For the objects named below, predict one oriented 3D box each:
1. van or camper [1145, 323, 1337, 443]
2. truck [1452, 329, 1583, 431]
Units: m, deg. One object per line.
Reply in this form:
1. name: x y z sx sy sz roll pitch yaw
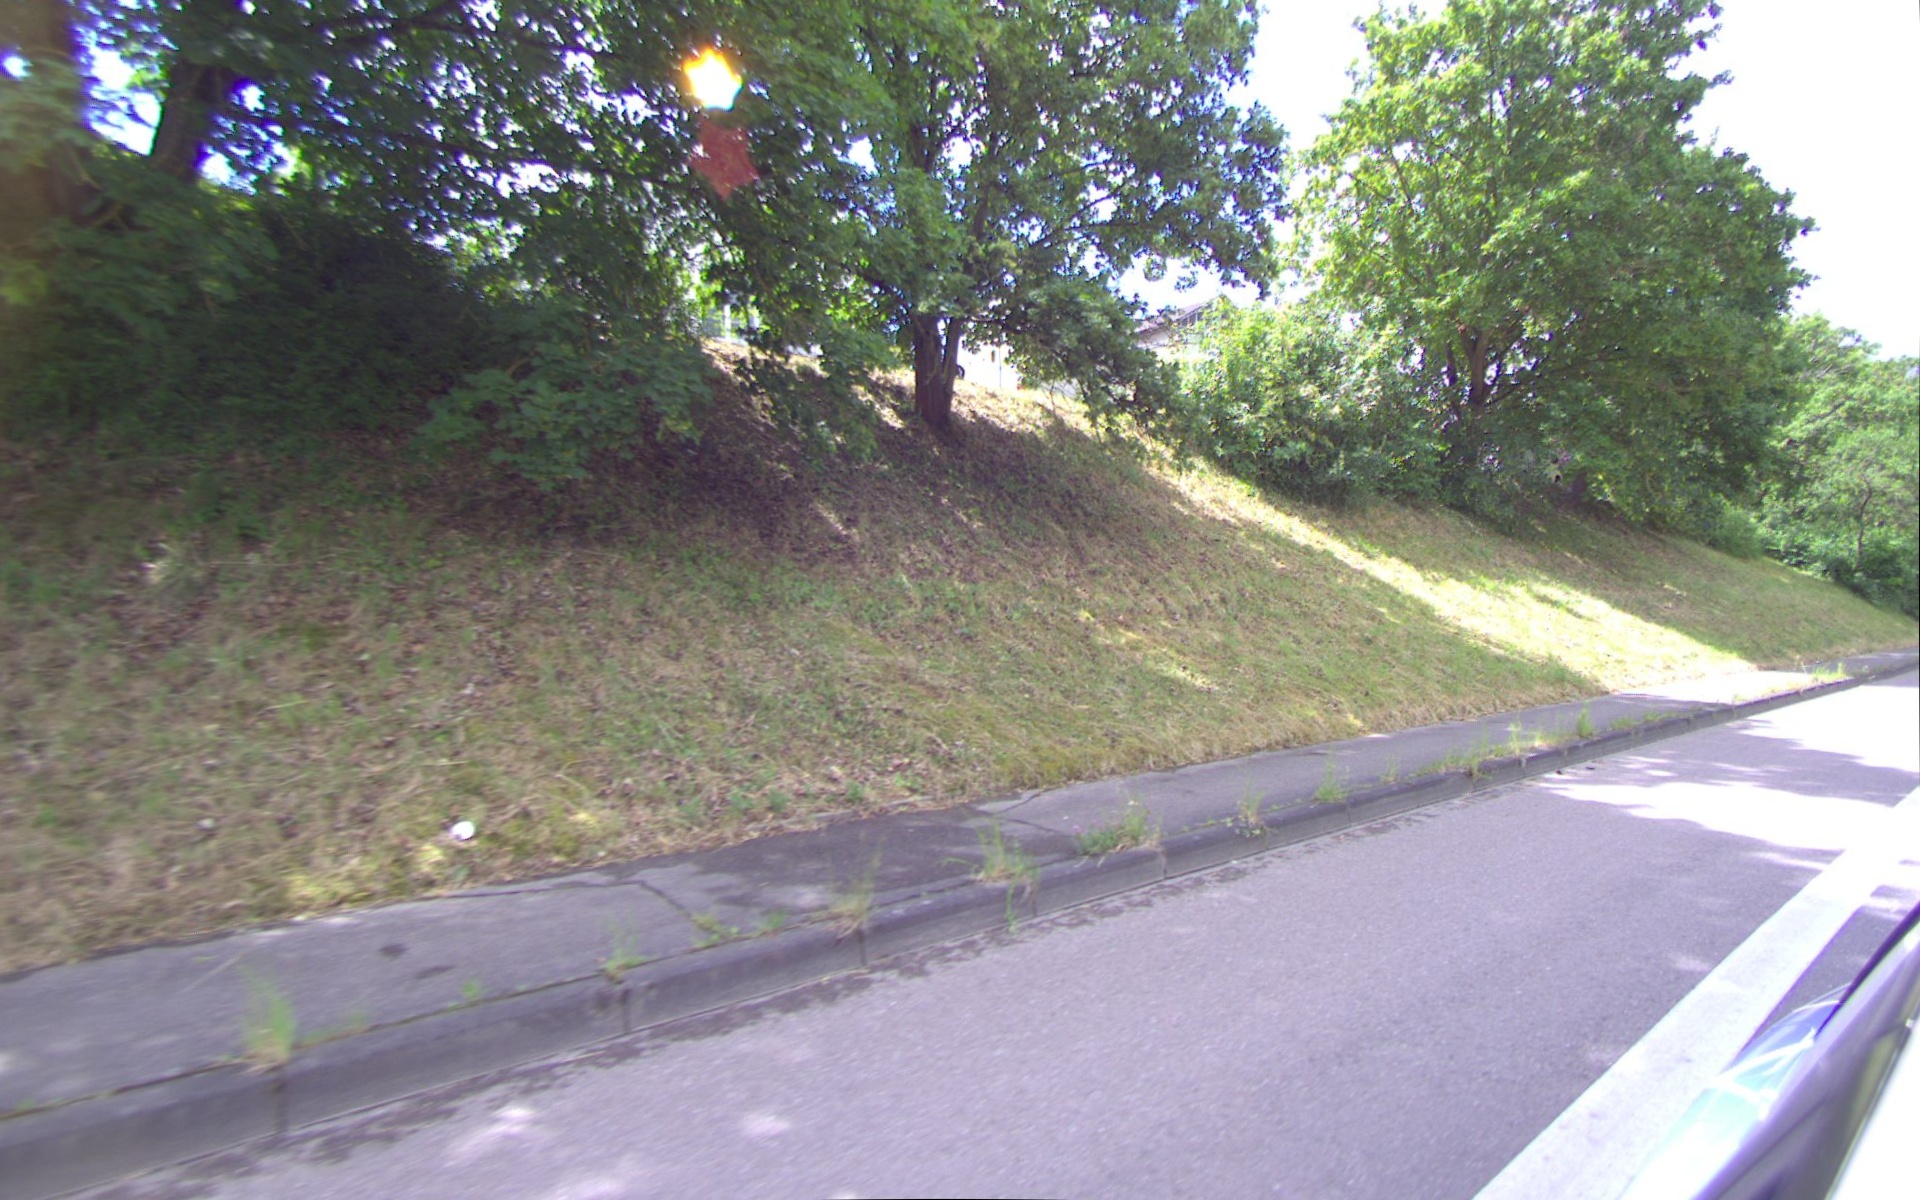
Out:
1. van or camper: 7.841 -5.796 27.812 6.056 2.096 2.219 0 0 -42
2. truck: 22.199 -8.557 40.143 6.917 2.692 2.354 0 0 -41
